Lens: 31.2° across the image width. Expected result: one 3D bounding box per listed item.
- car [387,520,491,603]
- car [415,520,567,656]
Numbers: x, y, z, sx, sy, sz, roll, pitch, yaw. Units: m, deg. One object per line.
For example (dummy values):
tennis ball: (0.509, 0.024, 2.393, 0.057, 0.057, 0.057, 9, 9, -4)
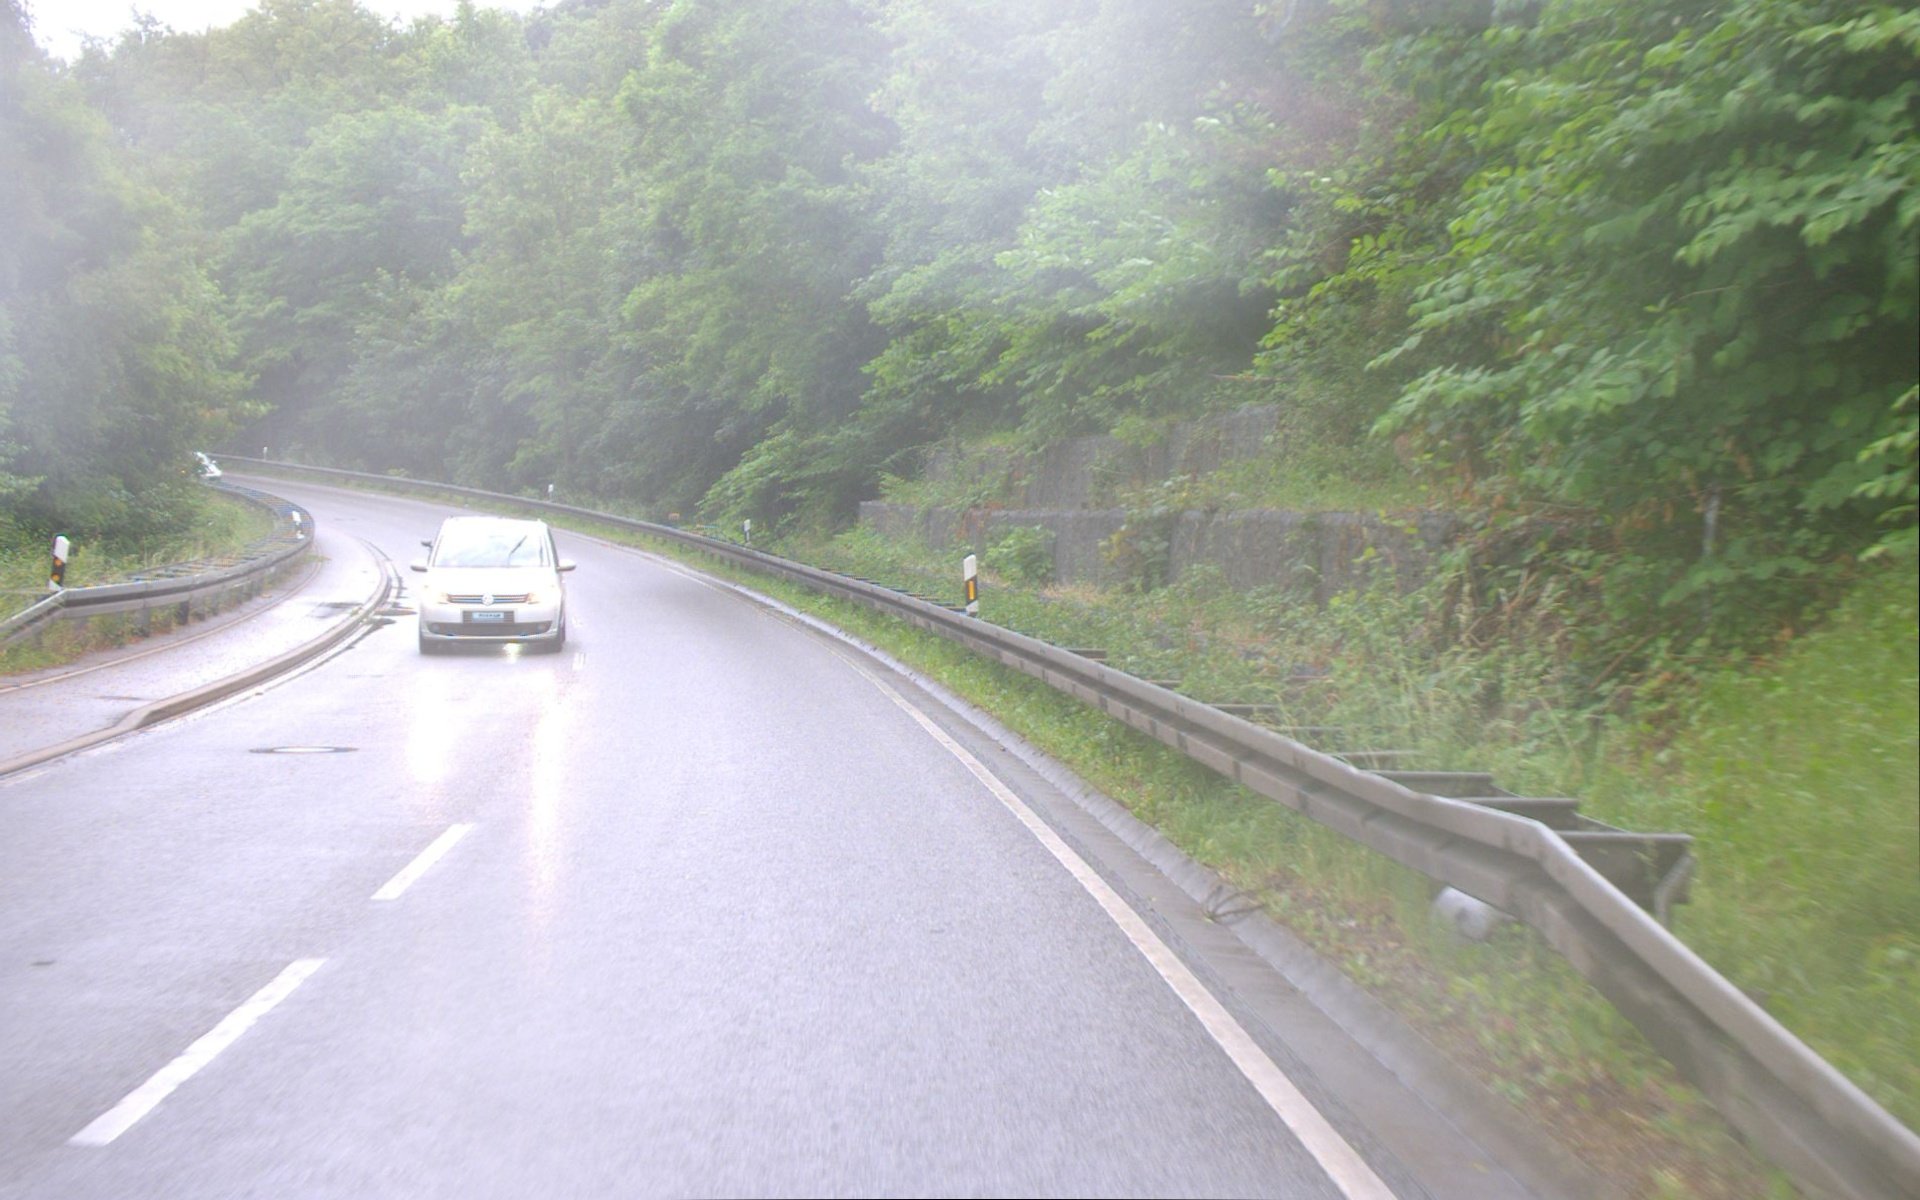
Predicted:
car: (-9.802, -0.744, 64.644, 1.814, 1.429, 4.001, 2, 1, -9)
car: (-5.958, -0.175, 43.821, 1.814, 1.642, 4.132, 0, 1, -7)
